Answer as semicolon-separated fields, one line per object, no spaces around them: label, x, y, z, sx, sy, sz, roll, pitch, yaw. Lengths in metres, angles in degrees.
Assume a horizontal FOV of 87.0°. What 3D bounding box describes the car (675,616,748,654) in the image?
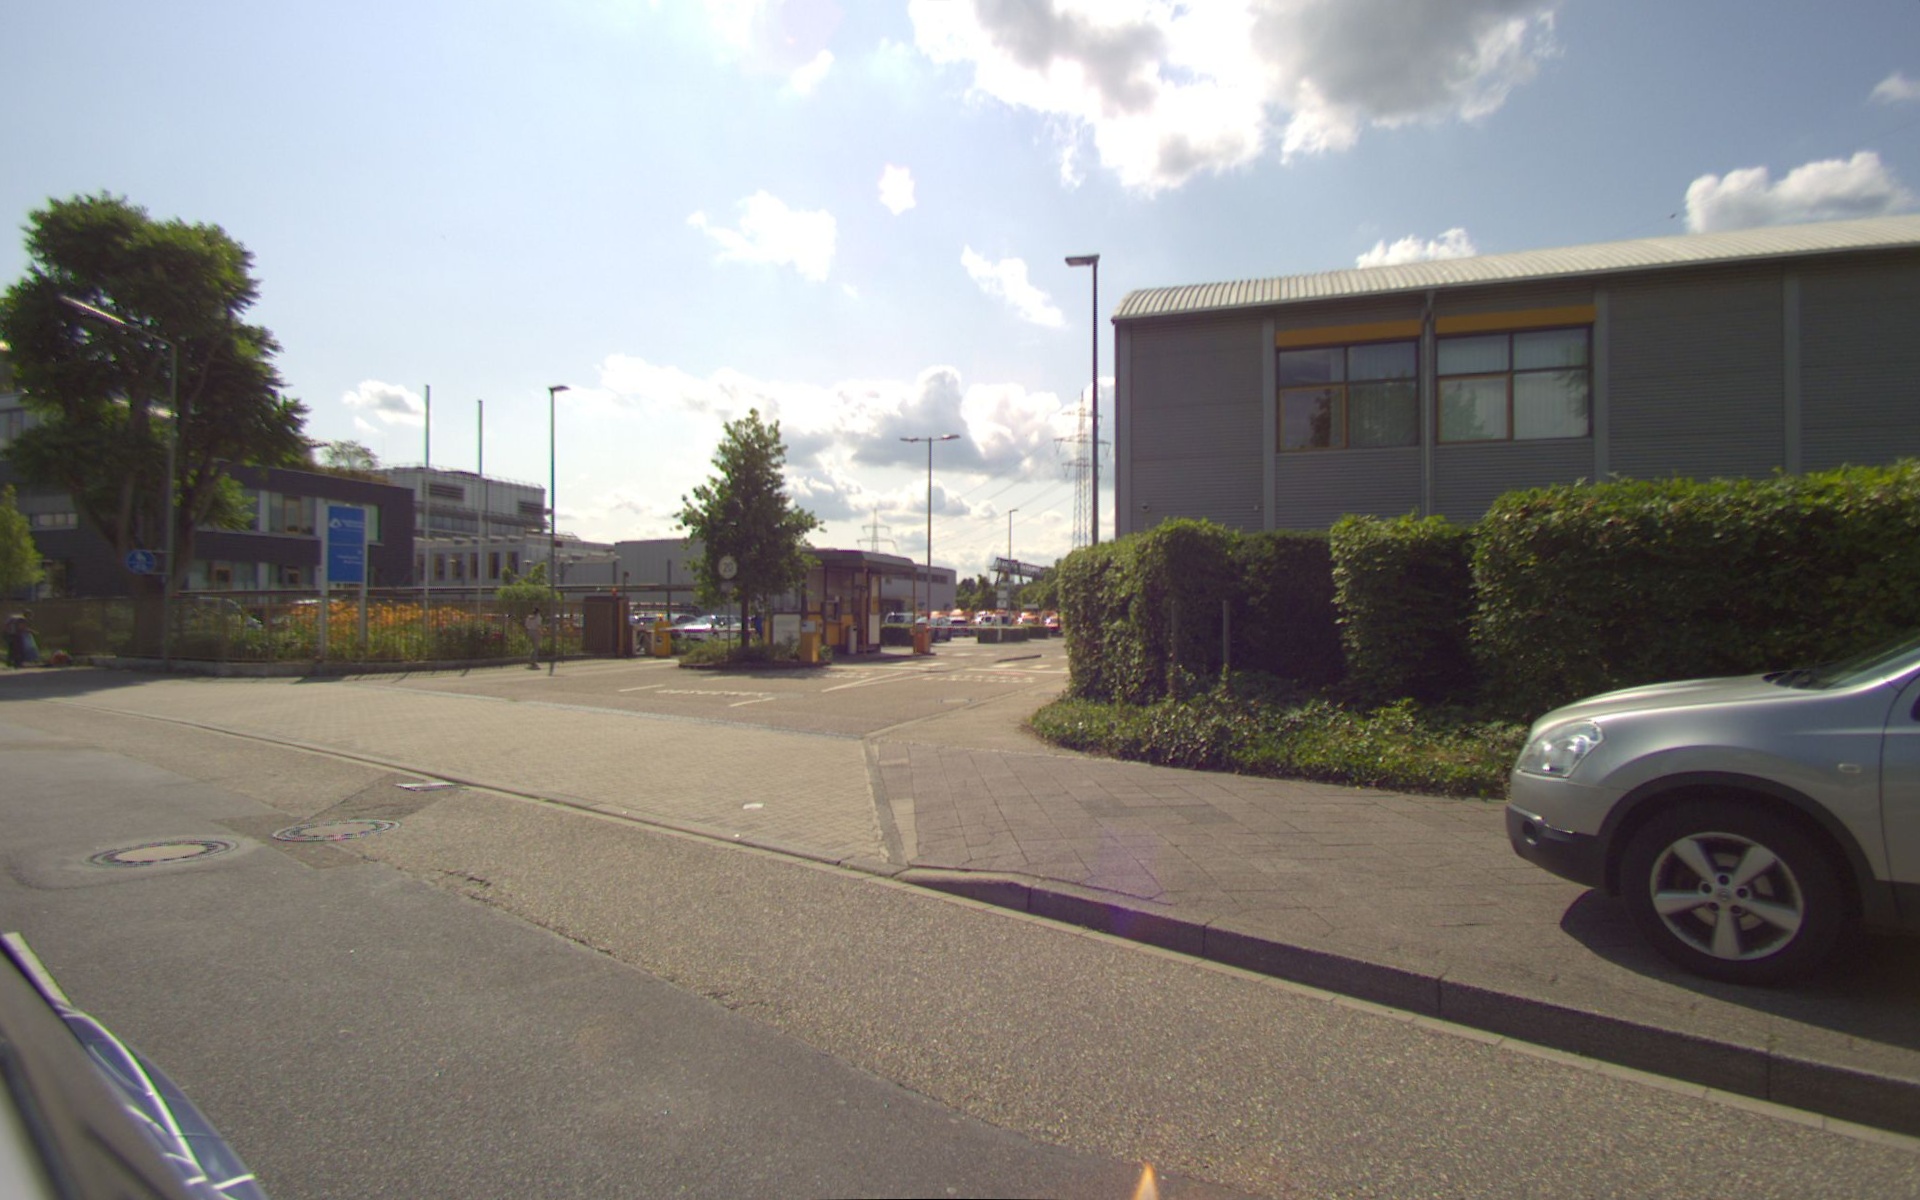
car;-12.453;1.741;50.949;1.744;1.739;4.050;-1;0;17

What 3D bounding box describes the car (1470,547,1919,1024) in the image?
car;4.405;0.609;3.448;4.475;1.586;1.739;-1;-1;41

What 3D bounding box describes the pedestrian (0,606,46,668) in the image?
pedestrian;-26.545;1.028;28.655;0.829;1.704;0.835;-1;0;36

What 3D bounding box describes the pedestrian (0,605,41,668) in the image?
pedestrian;-27.388;1.037;29.411;0.844;1.774;0.821;-1;0;36

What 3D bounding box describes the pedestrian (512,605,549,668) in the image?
pedestrian;-12.124;1.023;28.569;0.728;1.704;0.546;3;0;19

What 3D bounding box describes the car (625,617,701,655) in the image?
car;-14.991;1.776;51.285;1.744;1.739;4.050;-1;0;17

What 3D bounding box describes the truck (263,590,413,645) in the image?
truck;-32.800;0.937;53.680;2.385;2.678;6.892;-1;-1;18
